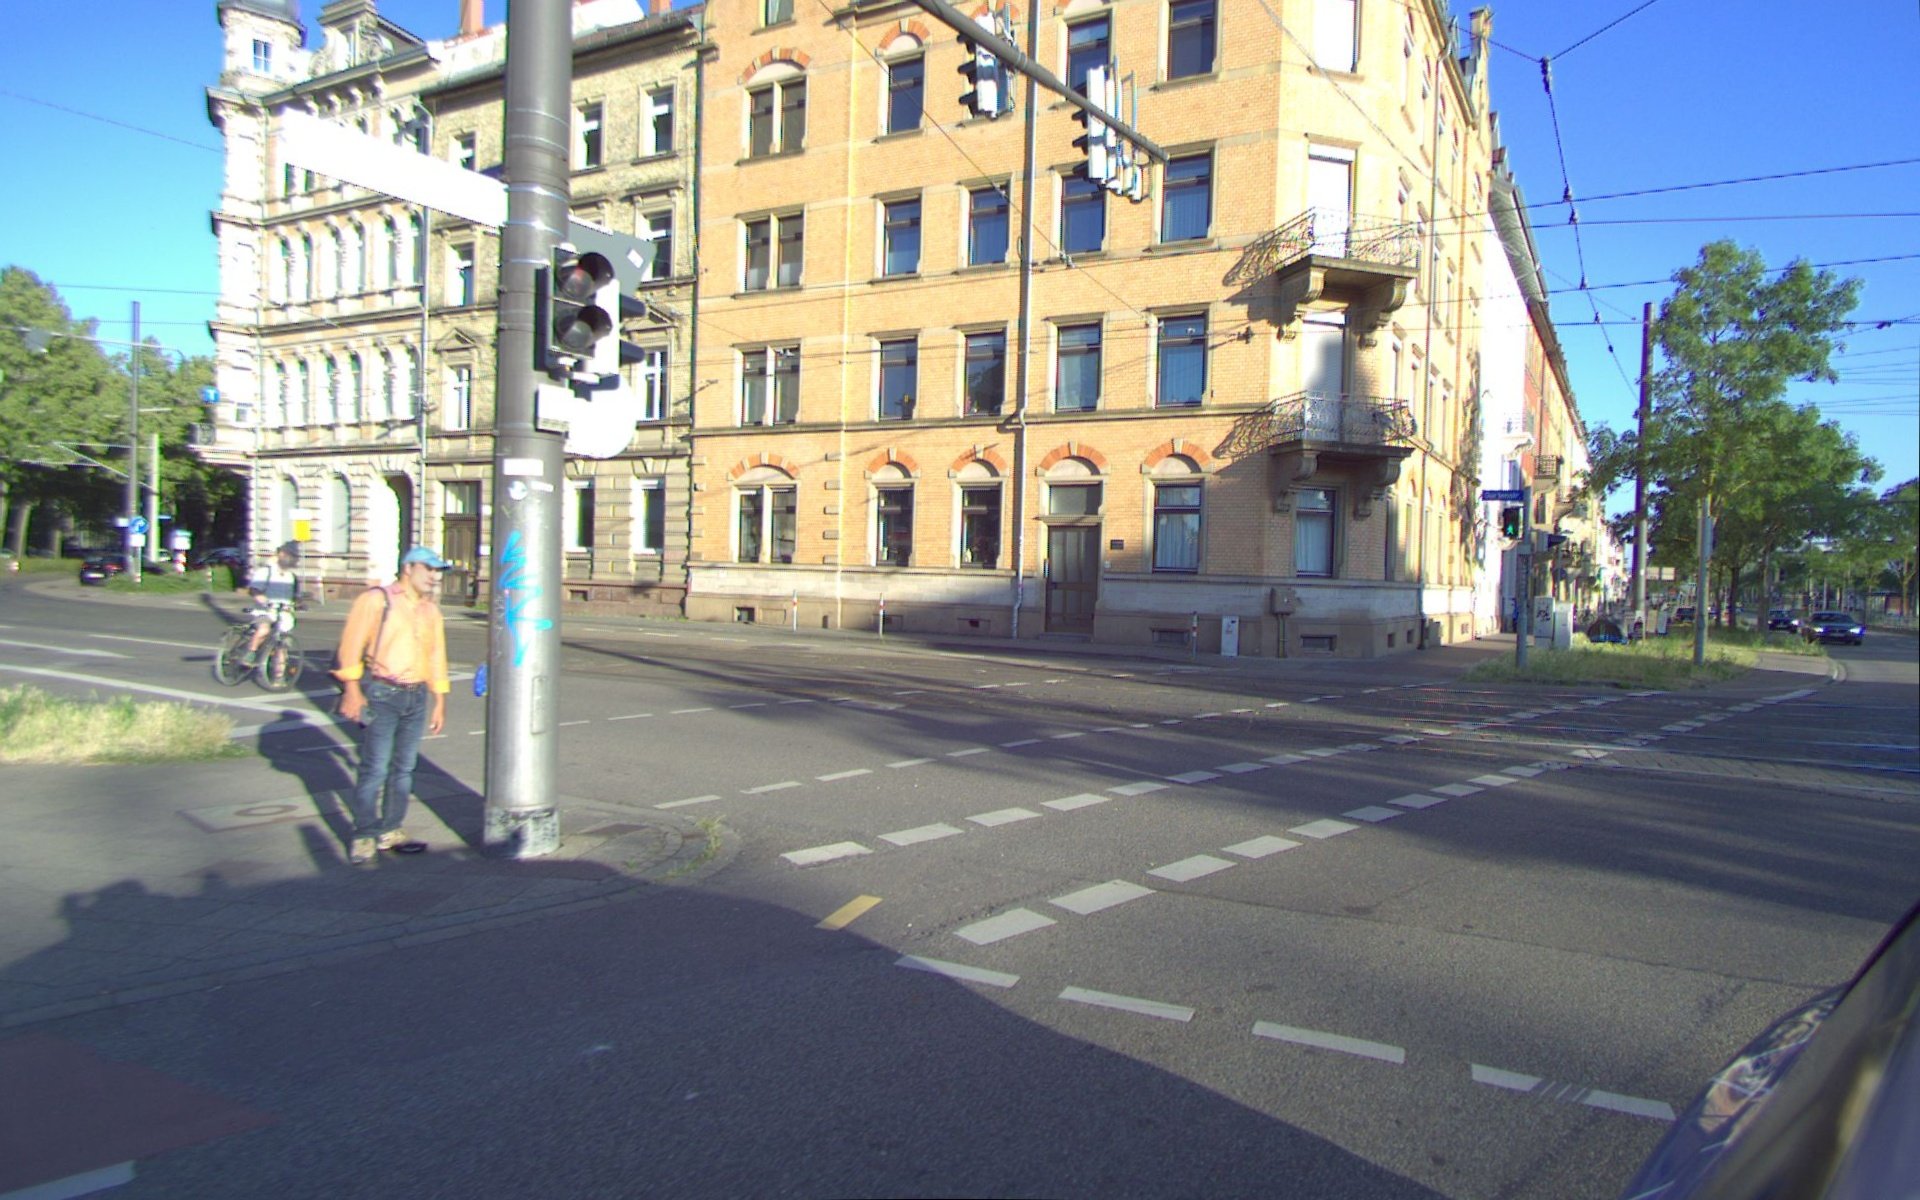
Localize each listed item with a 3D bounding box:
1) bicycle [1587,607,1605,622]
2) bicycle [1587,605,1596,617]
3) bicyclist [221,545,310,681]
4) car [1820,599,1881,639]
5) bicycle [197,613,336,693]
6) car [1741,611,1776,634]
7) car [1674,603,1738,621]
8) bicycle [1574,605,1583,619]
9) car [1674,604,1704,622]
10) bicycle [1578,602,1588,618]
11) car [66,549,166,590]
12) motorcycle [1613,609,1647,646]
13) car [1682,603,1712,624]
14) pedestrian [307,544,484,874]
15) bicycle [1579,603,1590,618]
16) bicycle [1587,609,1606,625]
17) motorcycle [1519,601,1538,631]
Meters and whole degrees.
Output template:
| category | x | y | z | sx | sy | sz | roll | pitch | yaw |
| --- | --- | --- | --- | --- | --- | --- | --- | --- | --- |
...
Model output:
| category | x | y | z | sx | sy | sz | roll | pitch | yaw |
| --- | --- | --- | --- | --- | --- | --- | --- | --- | --- |
| bicycle | 42.327 | 0.940 | 67.300 | 0.732 | 0.960 | 2.307 | 3 | 2 | 38 |
| bicycle | 57.518 | 0.997 | 92.210 | 0.570 | 1.086 | 1.873 | 3 | 1 | 35 |
| bicyclist | -8.485 | 0.142 | 12.365 | 0.689 | 1.603 | 0.631 | 2 | 1 | 27 |
| car | 40.764 | 0.814 | 46.350 | 1.993 | 1.686 | 3.939 | 2 | 1 | 42 |
| bicycle | -8.480 | 0.620 | 12.355 | 1.798 | 0.839 | 0.617 | 2 | 1 | 27 |
| car | 66.057 | 1.838 | 83.687 | 1.993 | 1.686 | 3.939 | 2 | 1 | 42 |
| car | 68.339 | 1.091 | 92.762 | 1.960 | 1.591 | 4.349 | 1 | -1 | -22 |
| bicycle | 45.845 | 0.873 | 75.015 | 0.482 | 1.018 | 1.724 | 1 | 1 | 35 |
| car | 63.070 | 1.100 | 87.640 | 1.938 | 1.463 | 4.848 | -1 | -1 | 34 |
| bicycle | 49.513 | 0.798 | 80.429 | 0.482 | 1.178 | 1.724 | 8 | 4 | 35 |
| car | -36.457 | -1.321 | 43.837 | 1.785 | 1.638 | 4.009 | 1 | 1 | -15 |
| motorcycle | 20.100 | 0.805 | 30.336 | 0.604 | 1.057 | 1.718 | 2 | 1 | 42 |
| car | 54.832 | 0.982 | 75.326 | 1.698 | 1.467 | 4.233 | -2 | -1 | 35 |
| pedestrian | -3.061 | 0.539 | 5.491 | 0.552 | 1.649 | 0.688 | 2 | 1 | 45 |
| bicycle | 50.584 | 0.845 | 81.973 | 0.482 | 1.178 | 1.724 | 8 | 4 | 35 |
| bicycle | 40.995 | 1.074 | 65.147 | 0.870 | 0.927 | 2.057 | 4 | 2 | 36 |
| motorcycle | 23.650 | 0.654 | 42.114 | 0.551 | 1.229 | 2.048 | 0 | 0 | 33 |
